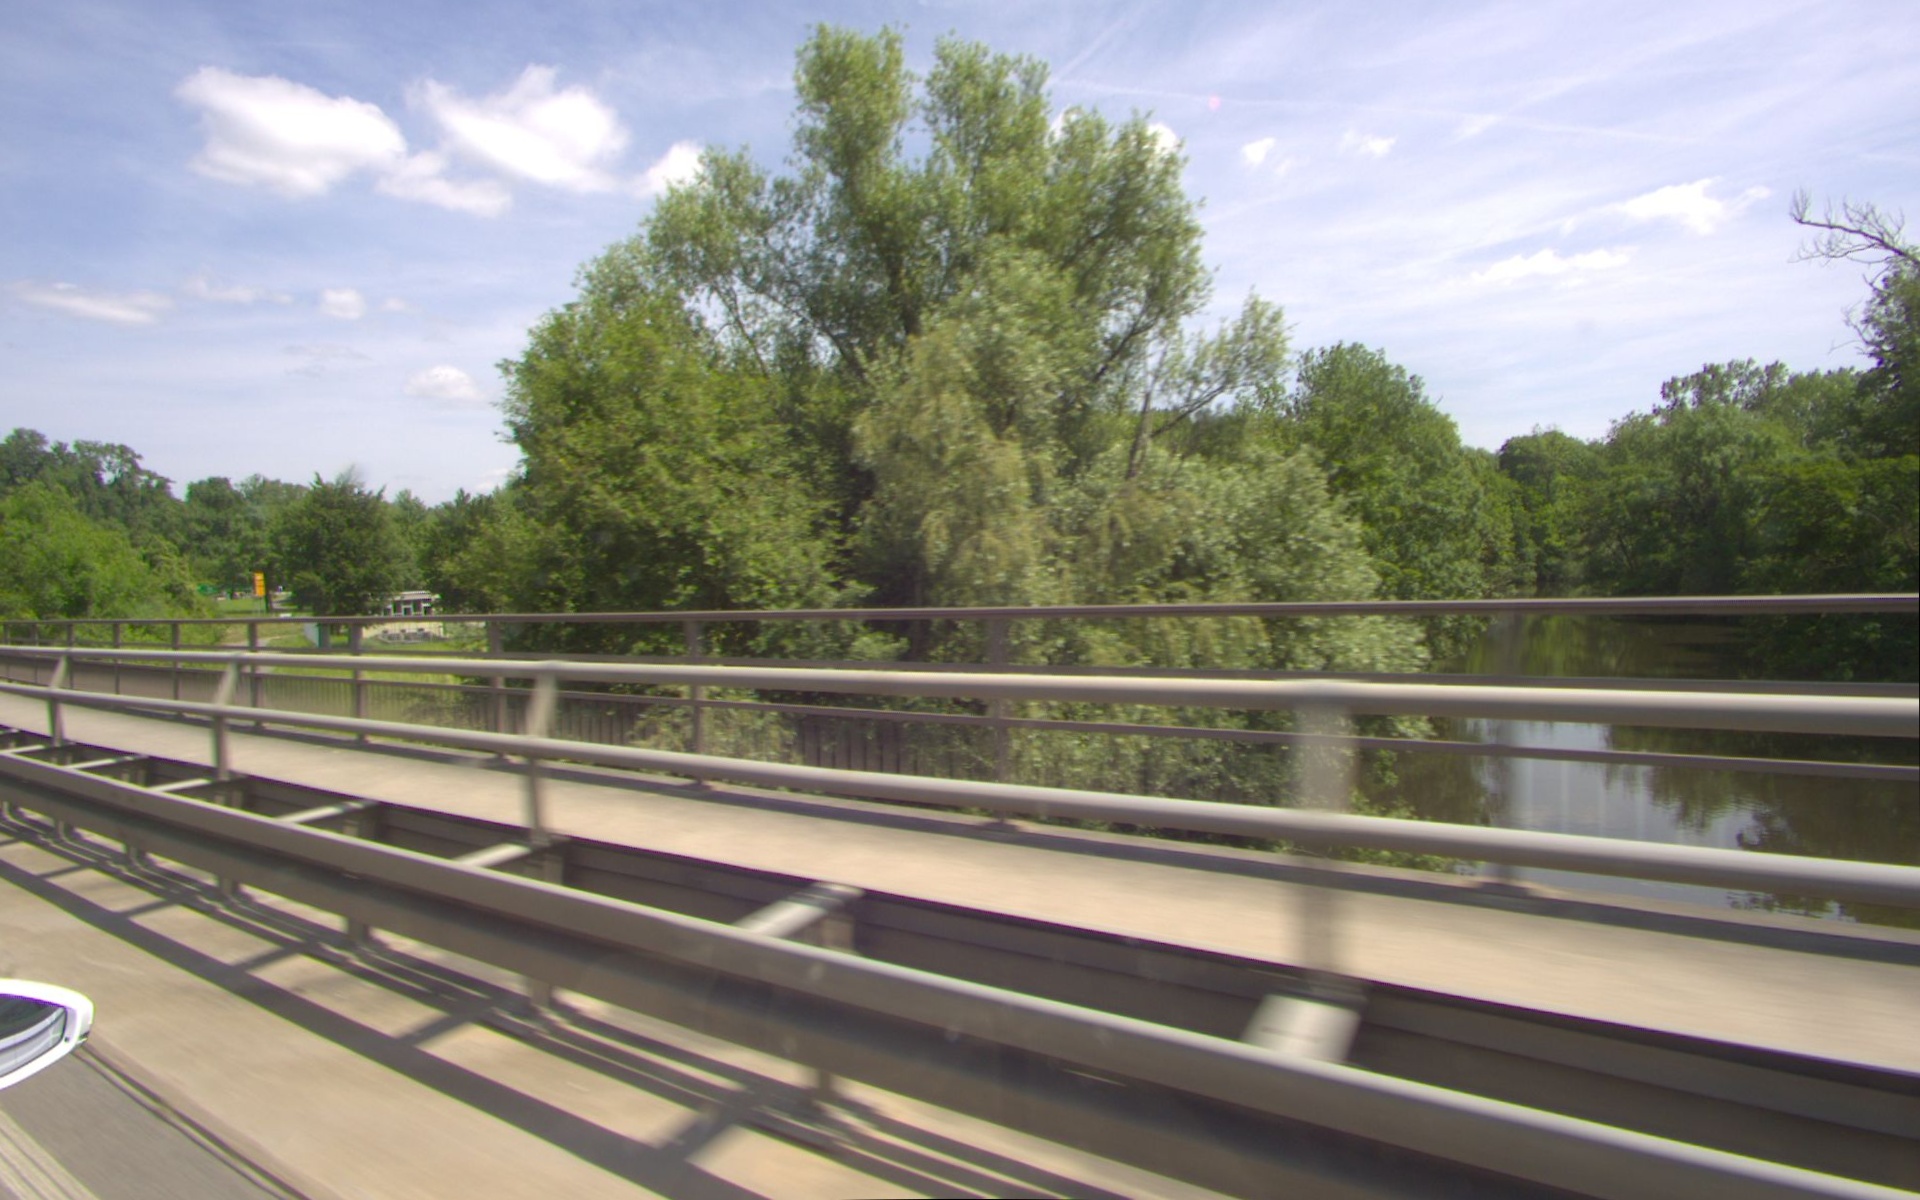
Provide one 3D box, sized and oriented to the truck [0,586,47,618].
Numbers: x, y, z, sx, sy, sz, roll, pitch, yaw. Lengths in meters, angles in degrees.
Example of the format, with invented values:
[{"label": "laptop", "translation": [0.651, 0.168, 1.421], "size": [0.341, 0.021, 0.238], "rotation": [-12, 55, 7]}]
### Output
[{"label": "truck", "translation": [-91.916, 0.212, 97.106], "size": [2.819, 2.987, 7.078], "rotation": [0, 0, -24]}]
